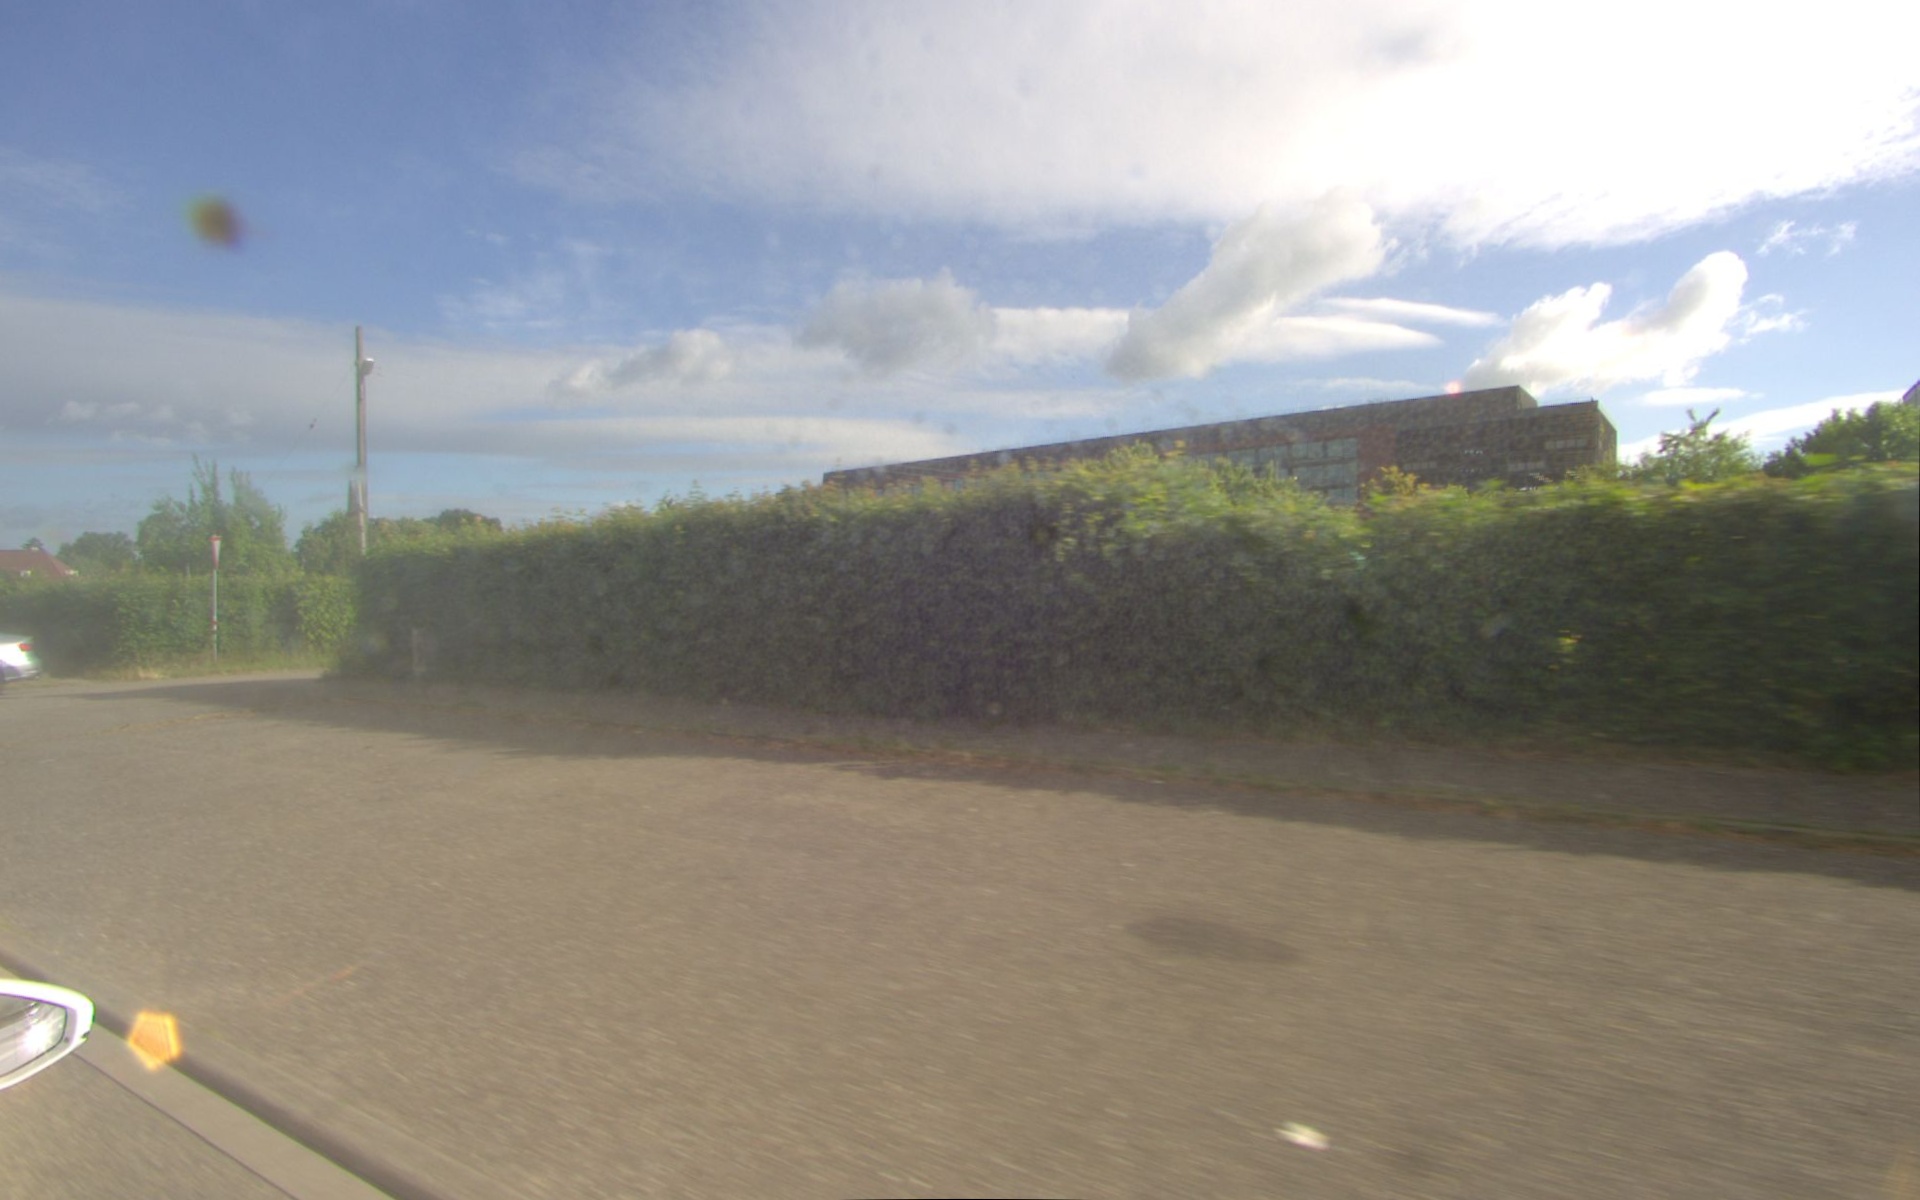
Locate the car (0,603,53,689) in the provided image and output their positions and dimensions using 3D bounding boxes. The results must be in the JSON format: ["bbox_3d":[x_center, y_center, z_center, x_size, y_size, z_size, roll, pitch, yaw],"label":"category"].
[{"bbox_3d":[-18.317,0.873,16.792,1.909,1.462,4.341,-1,2,39],"label":"car"}]

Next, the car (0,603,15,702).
[{"bbox_3d":[-14.677,0.810,12.739,1.937,1.454,4.329,-1,1,-14],"label":"car"}]
